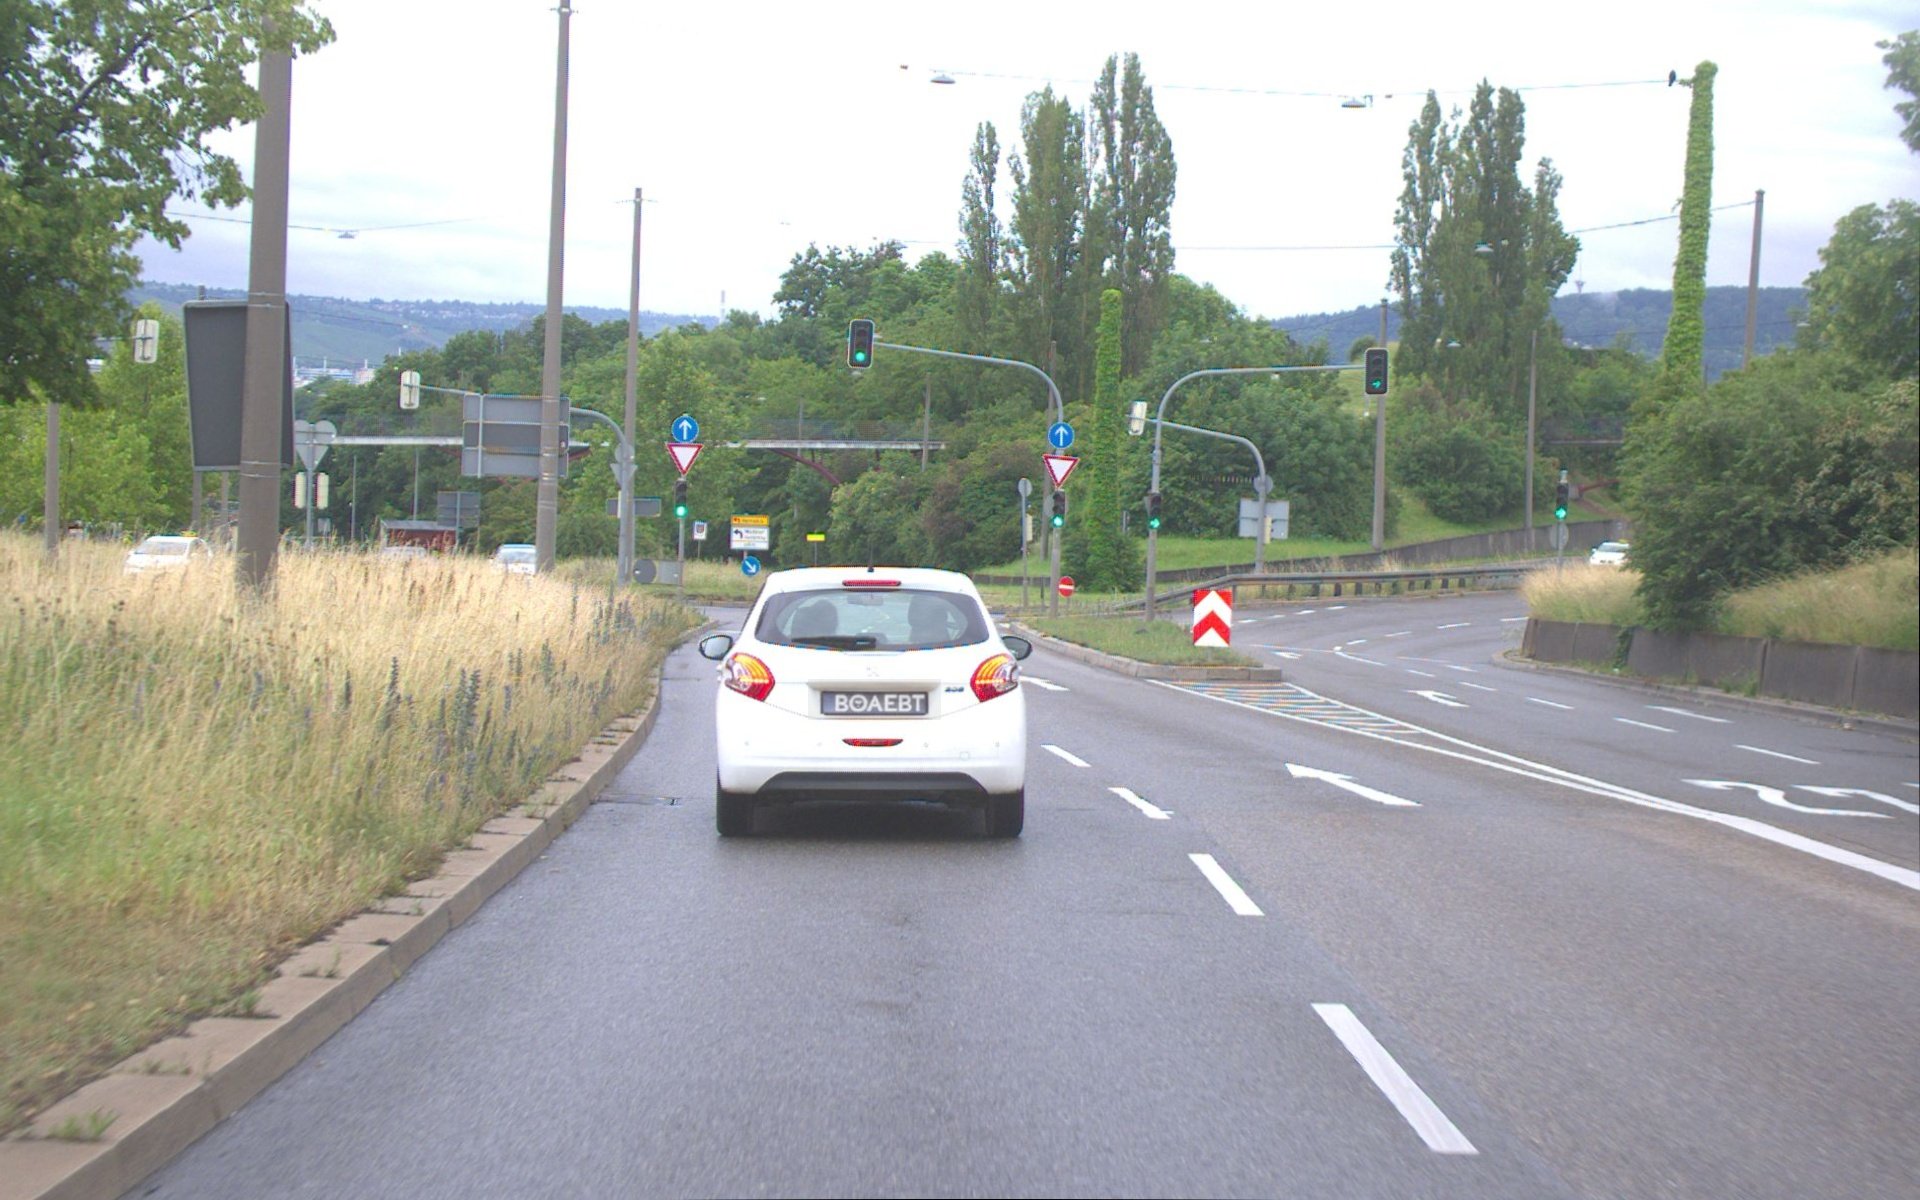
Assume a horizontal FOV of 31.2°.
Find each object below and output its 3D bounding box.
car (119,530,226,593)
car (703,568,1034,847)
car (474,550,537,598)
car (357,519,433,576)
[{"bbox_3d":[-22.297,-1.073,97.501,1.885,1.606,4.676,3,0,0],"label":"car"},{"bbox_3d":[-0.505,0.570,19.762,1.708,1.435,3.690,1,0,-1],"label":"car"},{"bbox_3d":[-13.759,-0.776,104.208,1.737,1.368,4.001,2,0,-6],"label":"car"},{"bbox_3d":[-16.759,-1.534,102.117,1.895,1.532,4.000,2,-1,-5],"label":"car"}]
